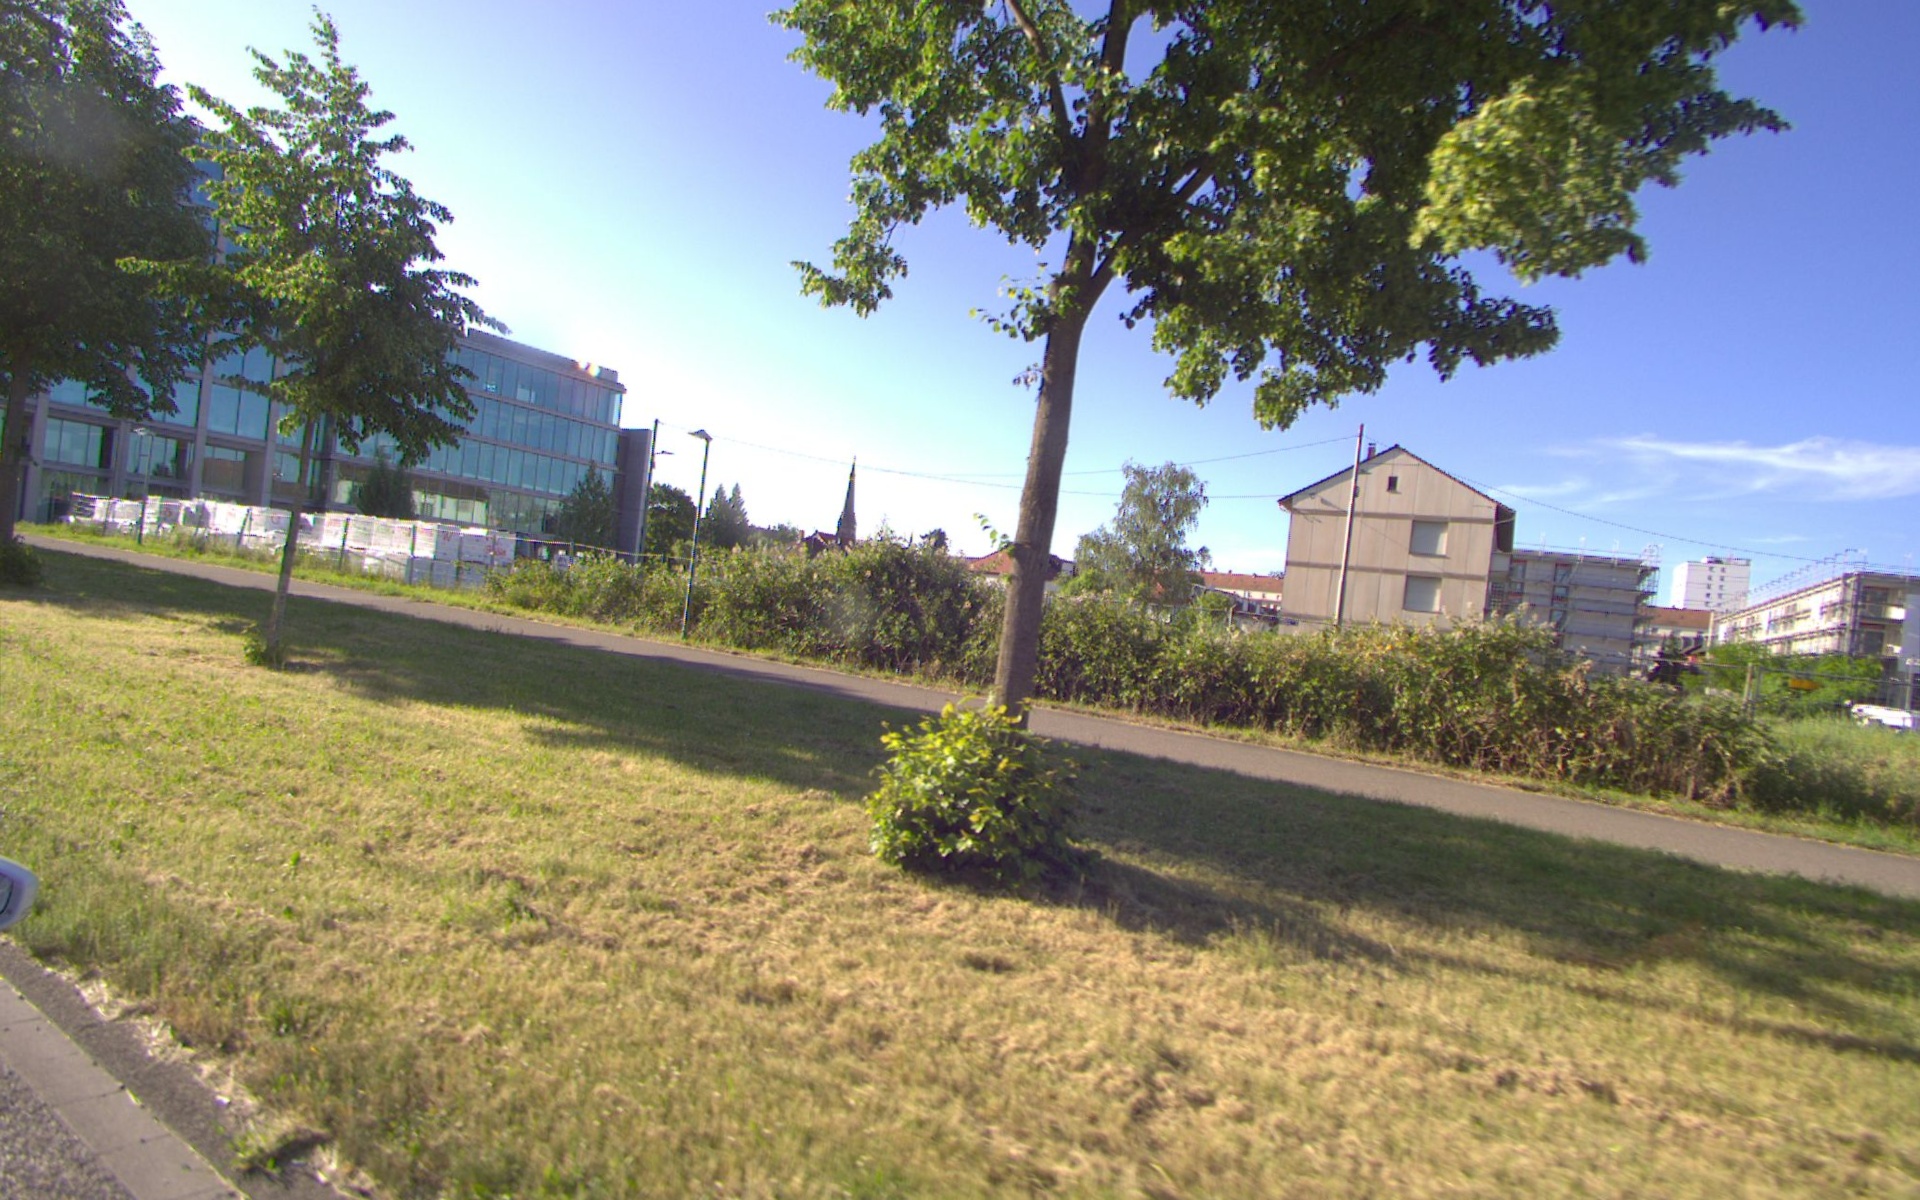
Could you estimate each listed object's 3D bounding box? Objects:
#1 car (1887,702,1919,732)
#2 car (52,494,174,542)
[{"bbox_3d":[60.318,7.403,62.195,3.924,1.637,1.834,5,-2,15],"label":"car"},{"bbox_3d":[-49.689,-4.789,59.109,1.909,2.005,5.065,6,-1,38],"label":"car"}]
